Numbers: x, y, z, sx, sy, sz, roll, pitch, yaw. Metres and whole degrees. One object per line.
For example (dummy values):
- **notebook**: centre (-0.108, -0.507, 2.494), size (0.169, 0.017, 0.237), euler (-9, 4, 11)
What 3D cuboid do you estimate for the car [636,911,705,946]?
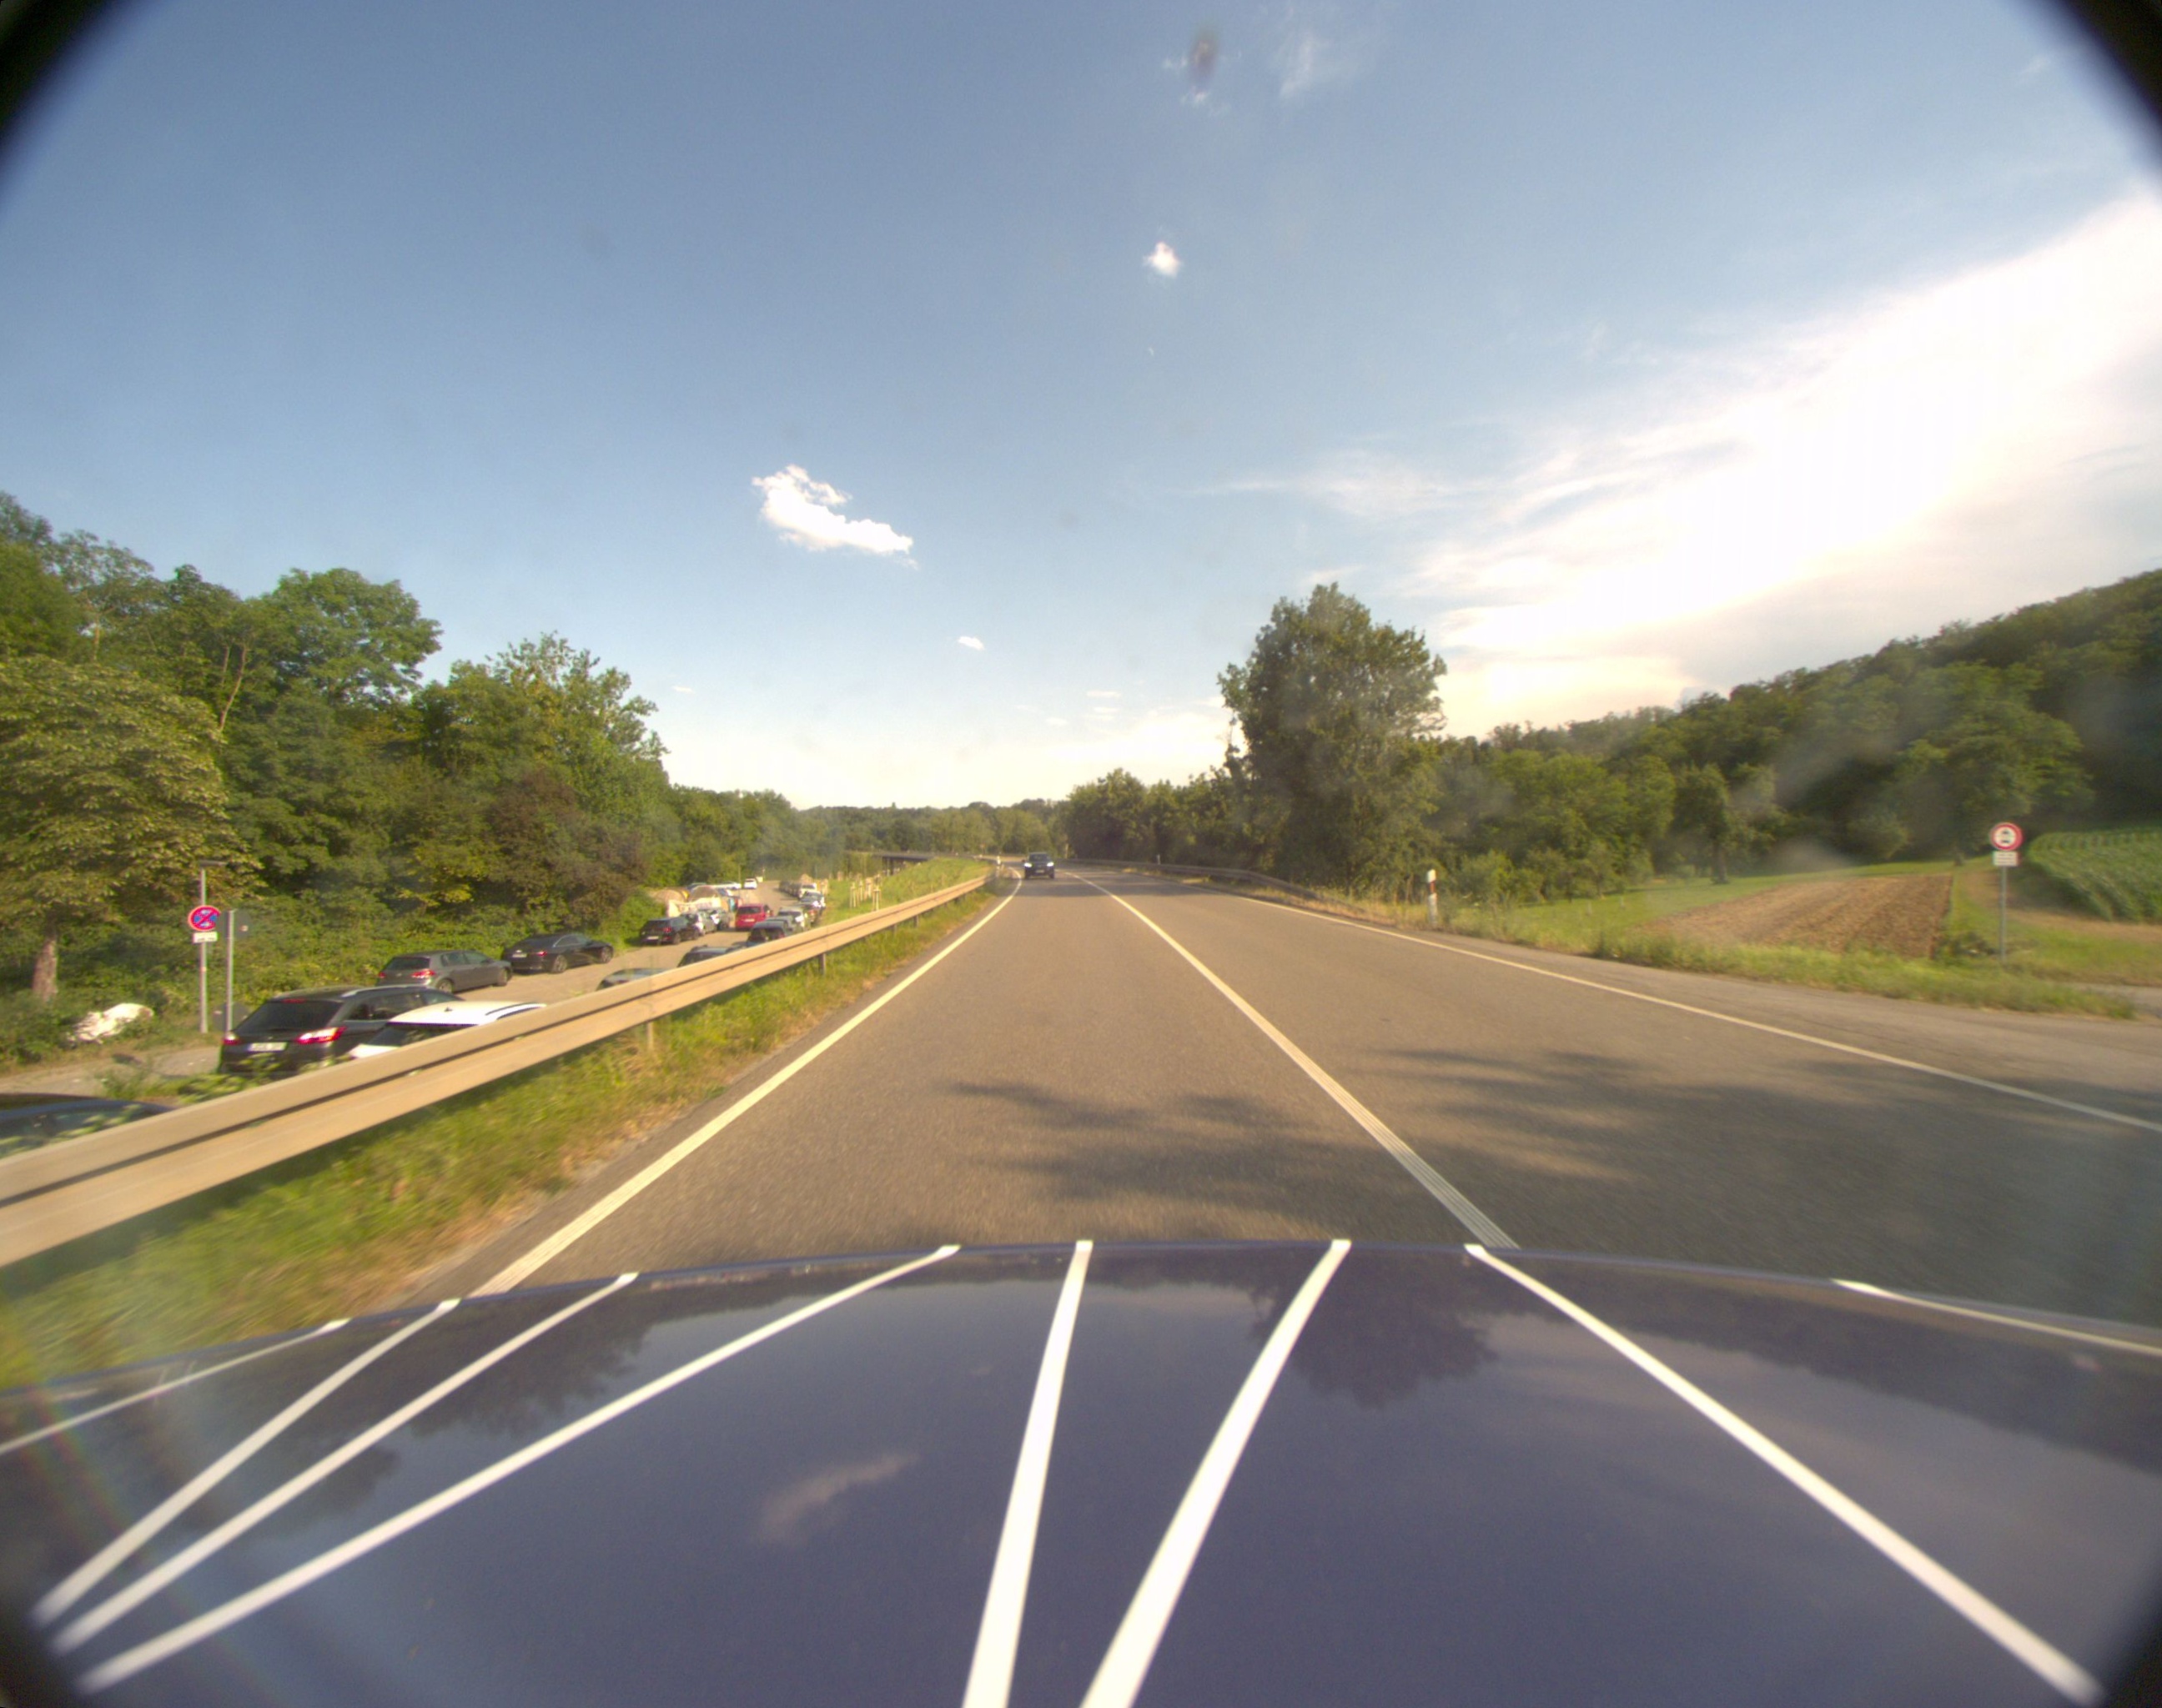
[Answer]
- **car**: centre (-21.839, 3.933, 40.636), size (1.707, 1.390, 4.780), euler (2, 0, -9)

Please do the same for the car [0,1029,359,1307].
- **car**: centre (-9.537, 2.812, 6.646), size (1.897, 1.550, 4.783), euler (2, -2, -2)

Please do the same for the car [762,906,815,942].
- **car**: centre (-15.419, 3.650, 40.324), size (1.899, 1.550, 4.778), euler (2, -2, -13)

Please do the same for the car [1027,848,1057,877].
- **car**: centre (-2.478, 0.474, 47.746), size (1.751, 1.645, 4.303), euler (-1, 2, -4)

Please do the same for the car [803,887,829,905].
- **car**: centre (-25.689, 4.077, 73.558), size (1.901, 1.550, 4.773), euler (3, -2, -24)

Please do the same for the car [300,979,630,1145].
- **car**: centre (-9.709, 3.206, 12.640), size (1.898, 1.550, 4.781), euler (2, -2, -6)

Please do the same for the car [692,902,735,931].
- **car**: centre (-23.994, 4.046, 49.764), size (1.707, 1.501, 3.940), euler (0, 0, -14)

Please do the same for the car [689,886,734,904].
- **car**: centre (-39.491, 4.324, 81.251), size (4.252, 1.595, 1.830), euler (-2, 1, -25)

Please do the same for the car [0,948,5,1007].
- **car**: centre (-30.938, 3.547, 19.393), size (1.805, 1.681, 4.588), euler (-1, 0, -23)

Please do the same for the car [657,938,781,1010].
- **car**: centre (-11.002, 3.604, 23.513), size (1.898, 1.550, 4.781), euler (2, -2, -6)

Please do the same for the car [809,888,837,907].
- **car**: centre (-23.326, 3.921, 68.626), size (1.901, 1.550, 4.773), euler (3, -2, -24)

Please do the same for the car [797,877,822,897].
- **car**: centre (-31.160, 3.759, 87.096), size (2.129, 2.005, 5.369), euler (3, -2, -24)

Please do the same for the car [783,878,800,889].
- **car**: centre (-43.223, 4.404, 113.513), size (1.826, 1.648, 4.247), euler (1, -1, -28)

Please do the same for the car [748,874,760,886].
- **car**: centre (-52.257, 4.110, 121.473), size (1.662, 1.657, 4.698), euler (-1, 1, -23)

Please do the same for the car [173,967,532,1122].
- **car**: centre (-12.448, 3.170, 13.590), size (1.897, 1.664, 4.782), euler (2, -2, -3)

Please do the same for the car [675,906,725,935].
- **car**: centre (-22.945, 3.988, 45.855), size (1.707, 1.390, 3.940), euler (2, 0, -12)

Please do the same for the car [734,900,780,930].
- **car**: centre (-20.814, 3.880, 49.014), size (1.899, 1.676, 5.081), euler (0, -1, -14)

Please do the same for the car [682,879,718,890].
- **car**: centre (-51.277, 4.073, 102.174), size (4.254, 1.447, 1.614), euler (0, 0, -30)

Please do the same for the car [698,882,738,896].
- **car**: centre (-44.563, 4.244, 93.234), size (4.253, 1.447, 1.613), euler (-2, 1, -30)

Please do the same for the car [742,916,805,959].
- **car**: centre (-14.066, 3.776, 35.041), size (1.899, 1.550, 4.778), euler (2, -2, -13)

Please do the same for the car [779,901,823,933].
- **car**: centre (-16.737, 3.714, 45.617), size (1.899, 1.550, 4.777), euler (-1, 0, -13)

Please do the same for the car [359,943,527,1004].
- **car**: centre (-20.367, 3.771, 24.520), size (1.705, 1.390, 4.103), euler (2, -2, 4)

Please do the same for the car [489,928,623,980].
- **car**: centre (-20.551, 3.856, 30.043), size (1.705, 1.390, 4.786), euler (2, 0, 4)

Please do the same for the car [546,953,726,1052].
- **car**: centre (-10.509, 3.458, 18.459), size (1.898, 1.550, 4.781), euler (2, -2, -6)

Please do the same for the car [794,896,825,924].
- **car**: centre (-18.294, 3.720, 51.092), size (1.900, 1.550, 4.774), euler (-1, 0, -21)

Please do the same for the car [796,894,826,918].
- **car**: centre (-20.302, 3.850, 57.015), size (1.900, 1.550, 4.774), euler (2, -2, -21)

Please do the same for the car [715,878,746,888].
- **car**: centre (-53.012, 4.366, 115.012), size (4.252, 1.447, 1.614), euler (0, -1, -24)
